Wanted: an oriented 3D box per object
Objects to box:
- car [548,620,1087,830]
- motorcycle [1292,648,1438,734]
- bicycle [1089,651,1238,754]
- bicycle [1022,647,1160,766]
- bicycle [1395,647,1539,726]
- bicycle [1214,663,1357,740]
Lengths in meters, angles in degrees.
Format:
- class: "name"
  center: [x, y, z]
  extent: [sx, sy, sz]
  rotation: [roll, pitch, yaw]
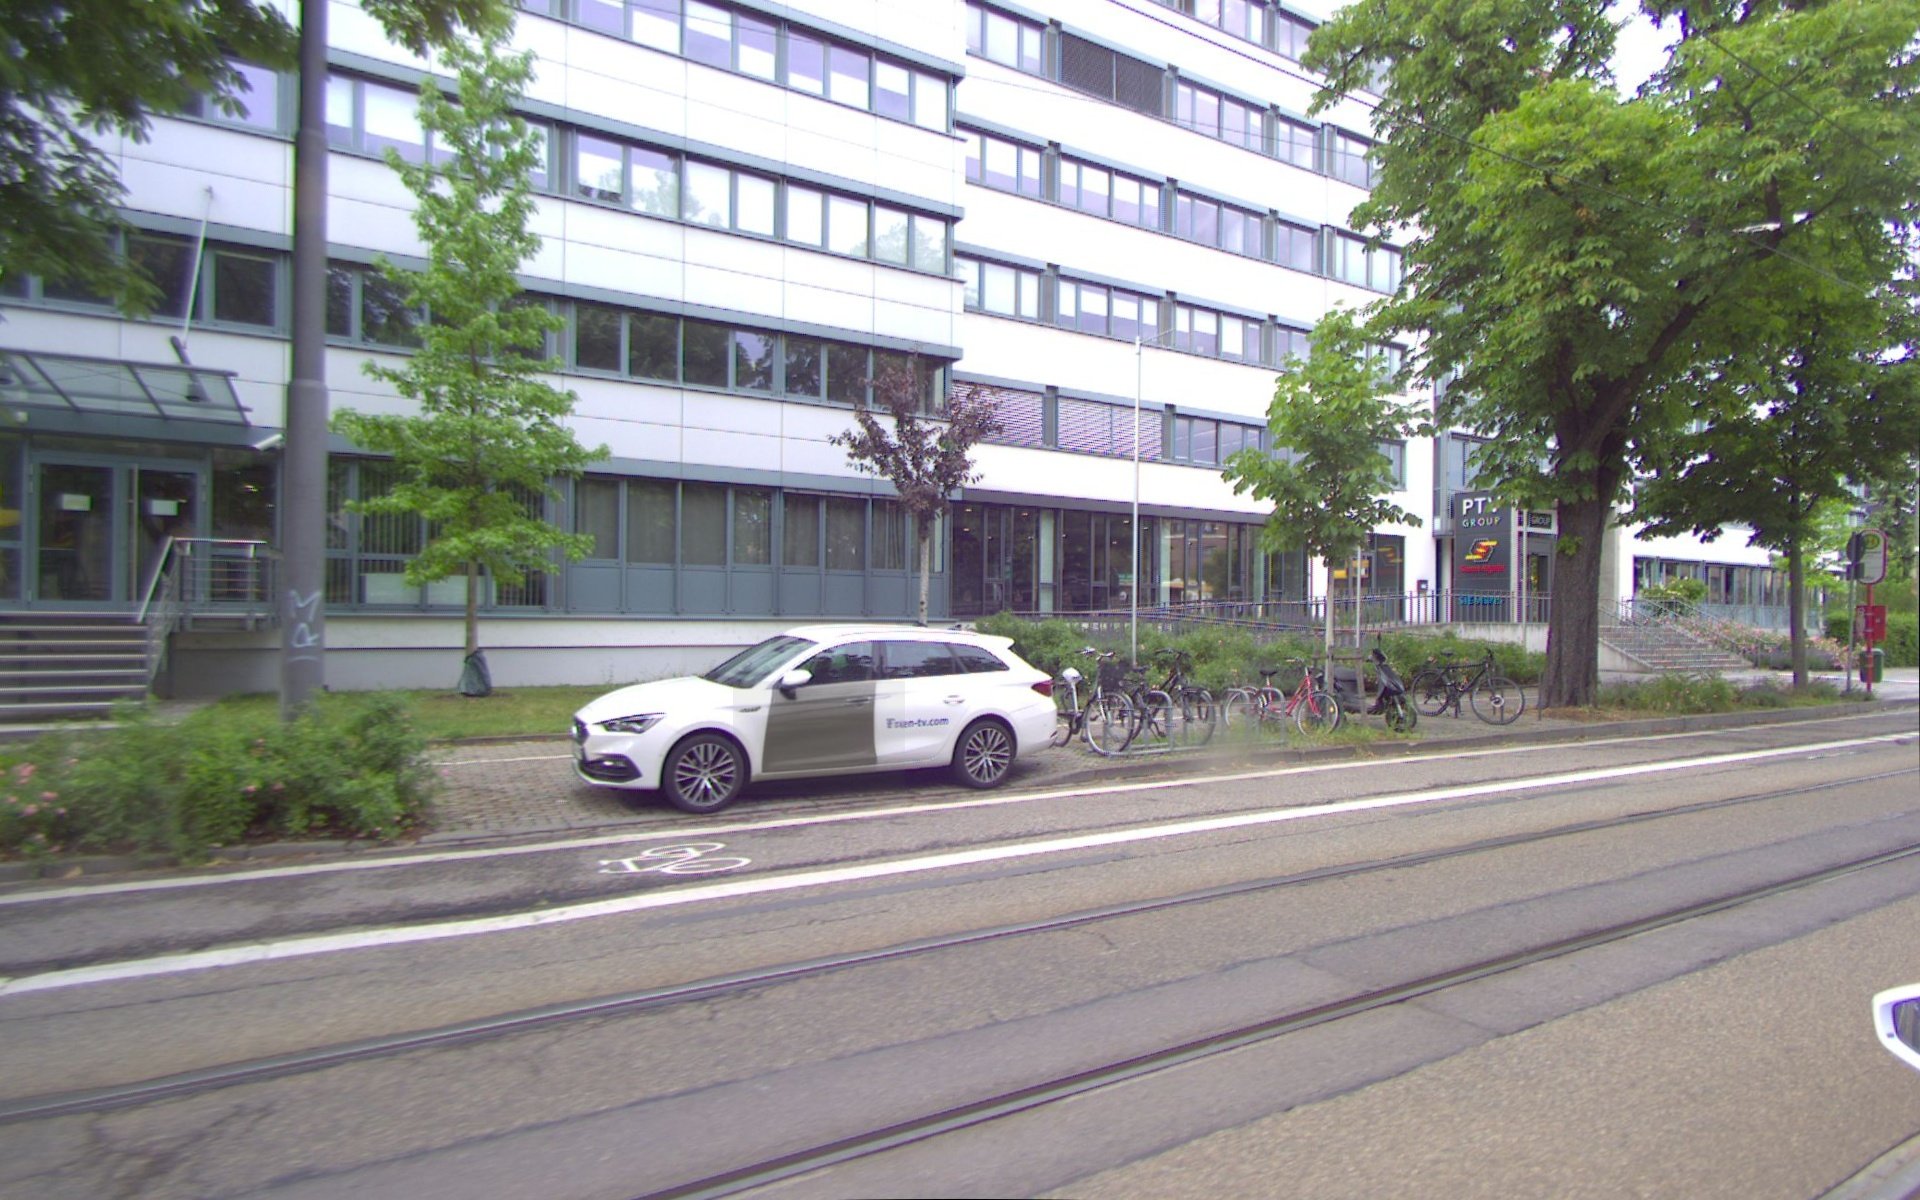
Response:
- class: "car"
  center: [-1.243, 0.967, 9.469]
  extent: [4.697, 1.513, 1.872]
  rotation: [1, 0, -30]
- class: "motorcycle"
  center: [5.622, 1.231, 14.032]
  extent: [0.726, 1.064, 1.775]
  rotation: [1, -1, -36]
- class: "bicycle"
  center: [2.370, 1.166, 11.929]
  extent: [0.626, 1.114, 1.794]
  rotation: [2, -3, -35]
- class: "bicycle"
  center: [1.420, 1.137, 11.276]
  extent: [0.624, 1.202, 1.859]
  rotation: [1, -2, -25]
- class: "bicycle"
  center: [7.621, 1.273, 15.172]
  extent: [0.735, 1.067, 1.814]
  rotation: [0, -1, -38]
- class: "bicycle"
  center: [4.282, 1.312, 13.352]
  extent: [0.626, 0.911, 1.794]
  rotation: [2, -3, -35]
